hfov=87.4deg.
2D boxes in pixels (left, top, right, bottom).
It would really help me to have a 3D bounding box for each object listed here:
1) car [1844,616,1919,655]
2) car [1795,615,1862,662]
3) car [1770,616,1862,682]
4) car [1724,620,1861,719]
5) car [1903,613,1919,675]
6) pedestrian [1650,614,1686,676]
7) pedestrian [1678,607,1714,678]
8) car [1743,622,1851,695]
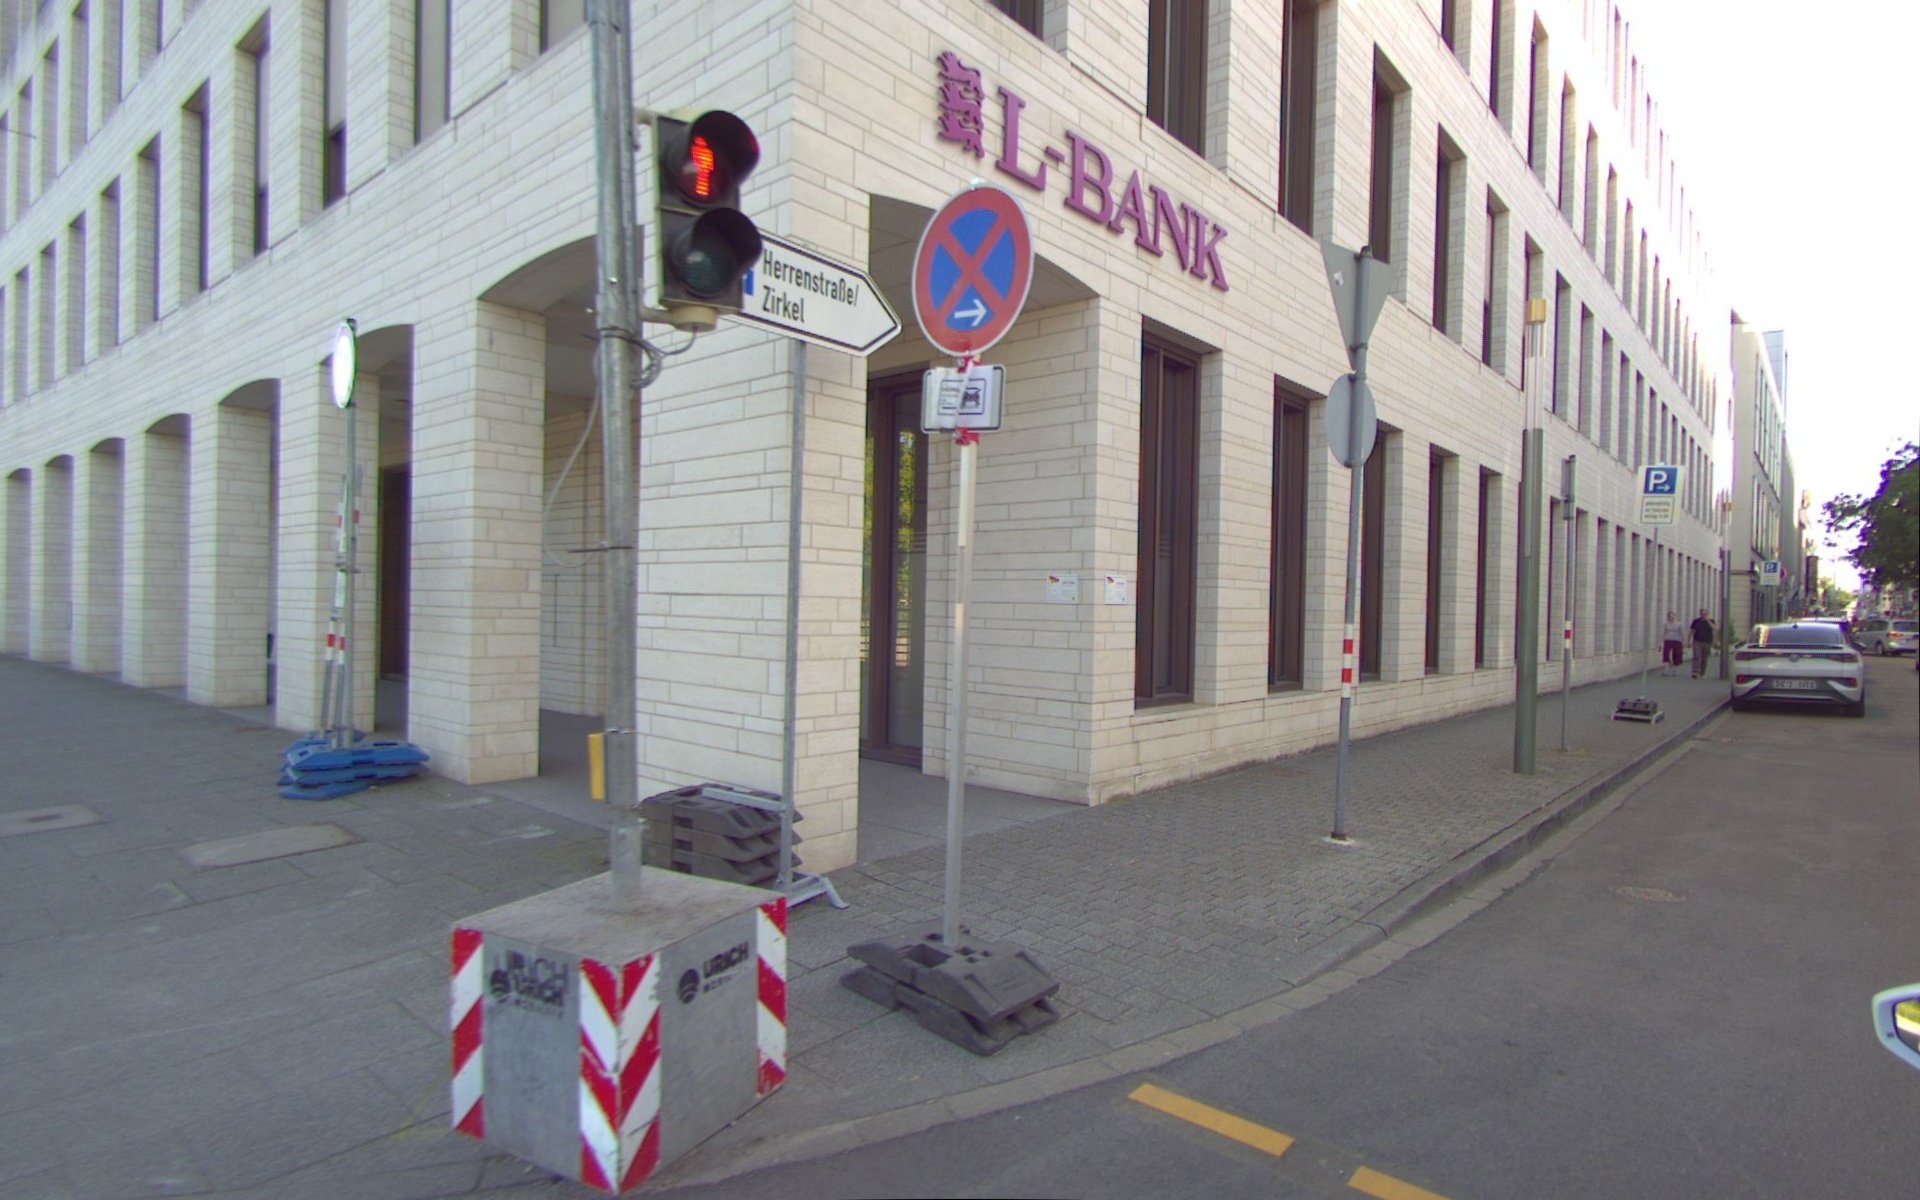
[{"bbox_3d":[40.670,1.532,44.076,1.869,1.617,3.995,1,-1,27],"label":"car"},{"bbox_3d":[31.782,1.394,36.767,1.757,1.627,3.497,-1,-2,42],"label":"car"},{"bbox_3d":[23.060,1.271,27.049,1.790,1.667,3.497,-1,-2,42],"label":"car"},{"bbox_3d":[15.619,1.196,18.796,1.790,1.627,4.245,-1,-2,41],"label":"car"},{"bbox_3d":[31.133,1.373,31.695,1.903,1.881,3.979,0,-1,42],"label":"car"},{"bbox_3d":[18.948,1.190,26.869,0.696,1.635,0.856,0,-1,42],"label":"pedestrian"},{"bbox_3d":[19.064,1.091,26.017,0.696,1.810,0.723,0,-1,42],"label":"pedestrian"},{"bbox_3d":[19.356,1.283,23.188,1.790,1.547,3.497,-1,-2,42],"label":"car"}]
